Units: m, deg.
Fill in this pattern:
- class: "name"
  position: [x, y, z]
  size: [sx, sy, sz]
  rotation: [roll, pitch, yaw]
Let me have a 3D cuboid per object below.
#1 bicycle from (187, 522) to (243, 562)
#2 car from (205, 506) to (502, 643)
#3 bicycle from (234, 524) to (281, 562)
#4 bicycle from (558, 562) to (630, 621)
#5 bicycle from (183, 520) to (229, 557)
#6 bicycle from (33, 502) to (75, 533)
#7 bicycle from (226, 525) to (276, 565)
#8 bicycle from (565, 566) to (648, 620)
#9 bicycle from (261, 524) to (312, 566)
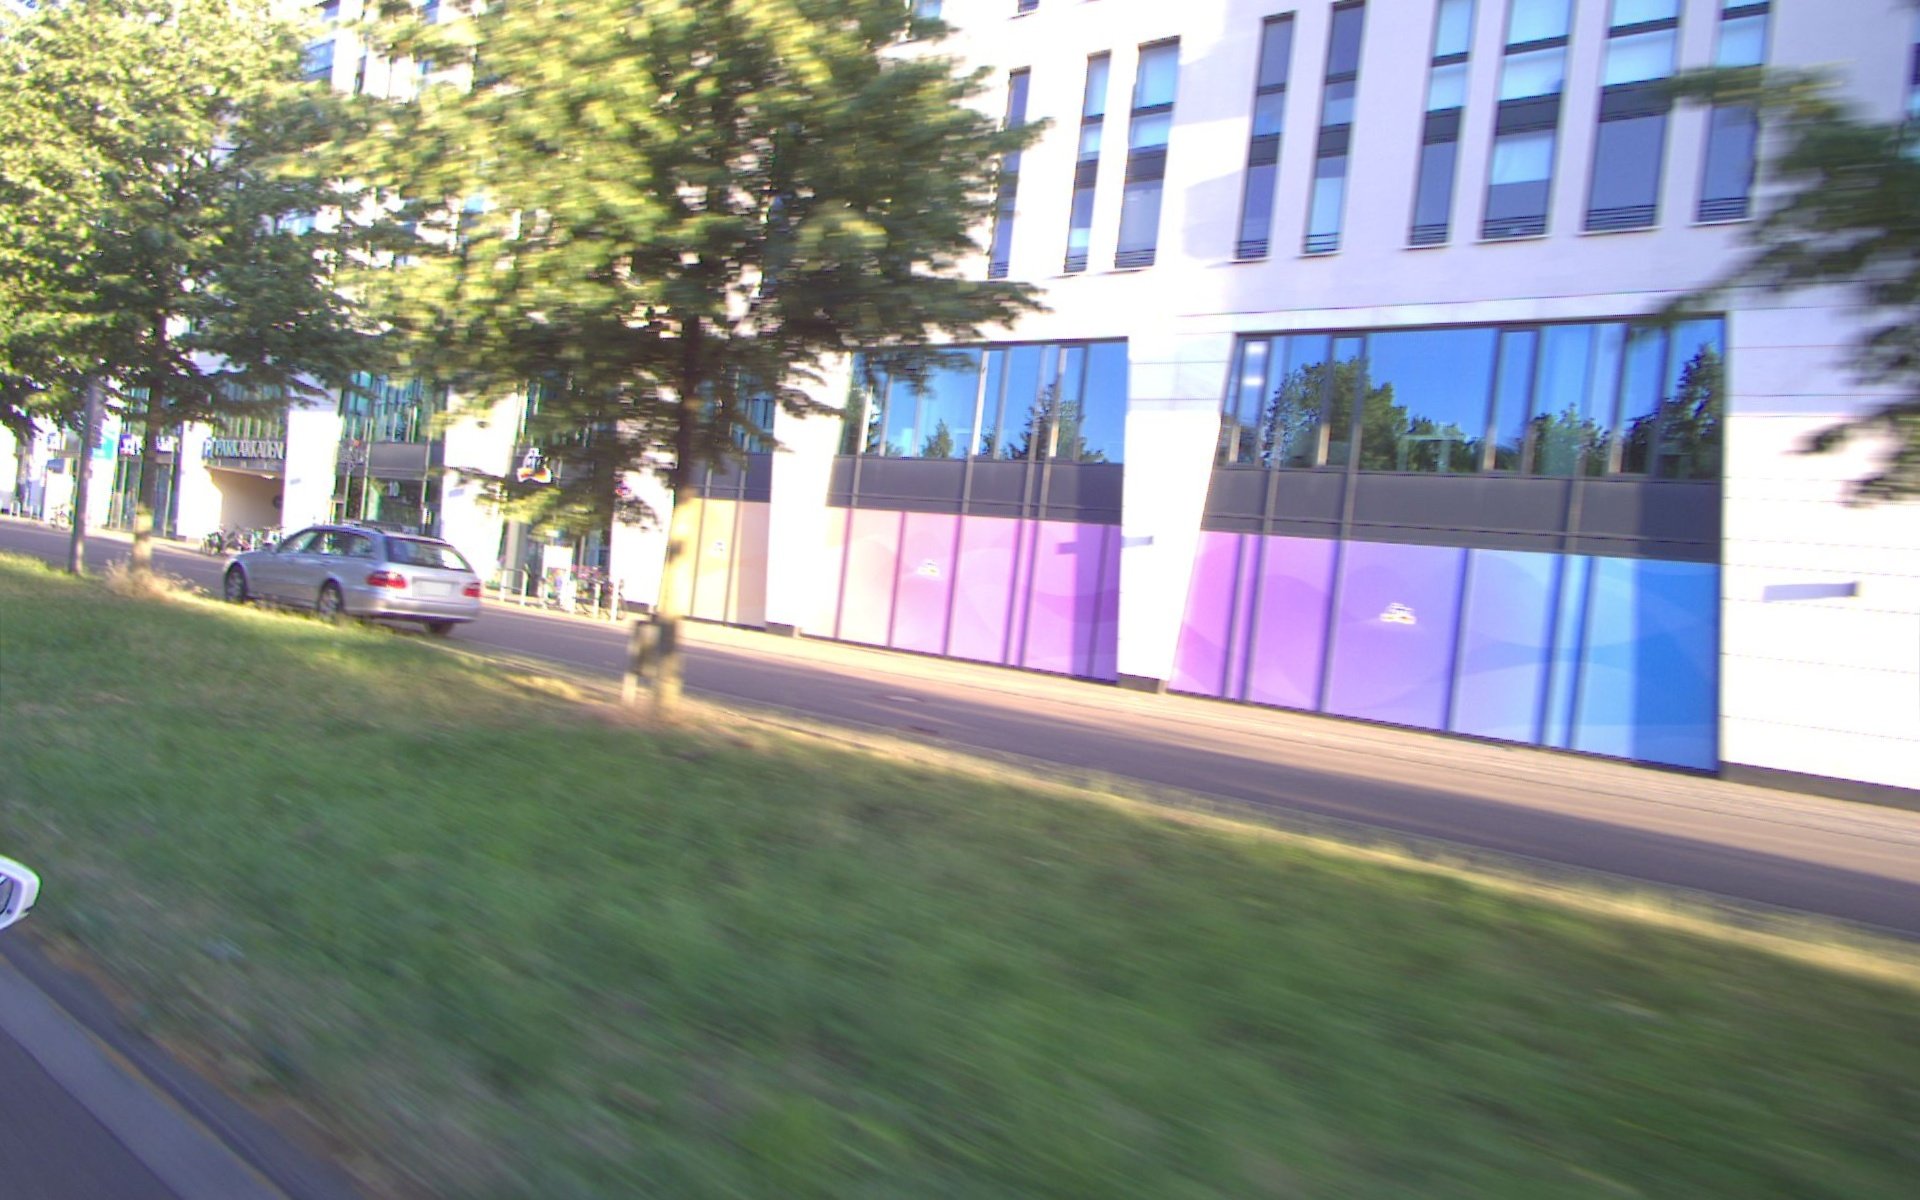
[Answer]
- class: "bicycle"
  position: [-23.473, -1.820, 31.706]
  size: [1.748, 1.075, 0.534]
  rotation: [7, 3, 22]
- class: "car"
  position: [-9.453, -0.417, 15.570]
  size: [4.744, 1.519, 1.811]
  rotation: [7, 0, 31]
- class: "bicycle"
  position: [-22.973, -1.873, 32.883]
  size: [1.826, 1.075, 0.533]
  rotation: [7, 3, 32]
- class: "bicycle"
  position: [-8.508, -0.196, 23.363]
  size: [1.751, 1.179, 0.538]
  rotation: [7, 3, 32]
- class: "bicycle"
  position: [-25.093, -2.046, 33.477]
  size: [1.826, 1.075, 0.533]
  rotation: [7, 3, 32]
- class: "bicycle"
  position: [-36.372, -3.329, 40.392]
  size: [2.021, 1.052, 0.653]
  rotation: [7, 0, 32]
- class: "bicycle"
  position: [-22.491, -1.737, 31.901]
  size: [1.826, 1.074, 0.533]
  rotation: [7, 1, 32]
- class: "bicycle"
  position: [-8.339, -0.161, 23.710]
  size: [1.822, 1.075, 0.534]
  rotation: [7, 3, 19]
- class: "bicycle"
  position: [-20.450, -1.672, 30.520]
  size: [1.826, 1.075, 0.533]
  rotation: [7, 3, 32]
